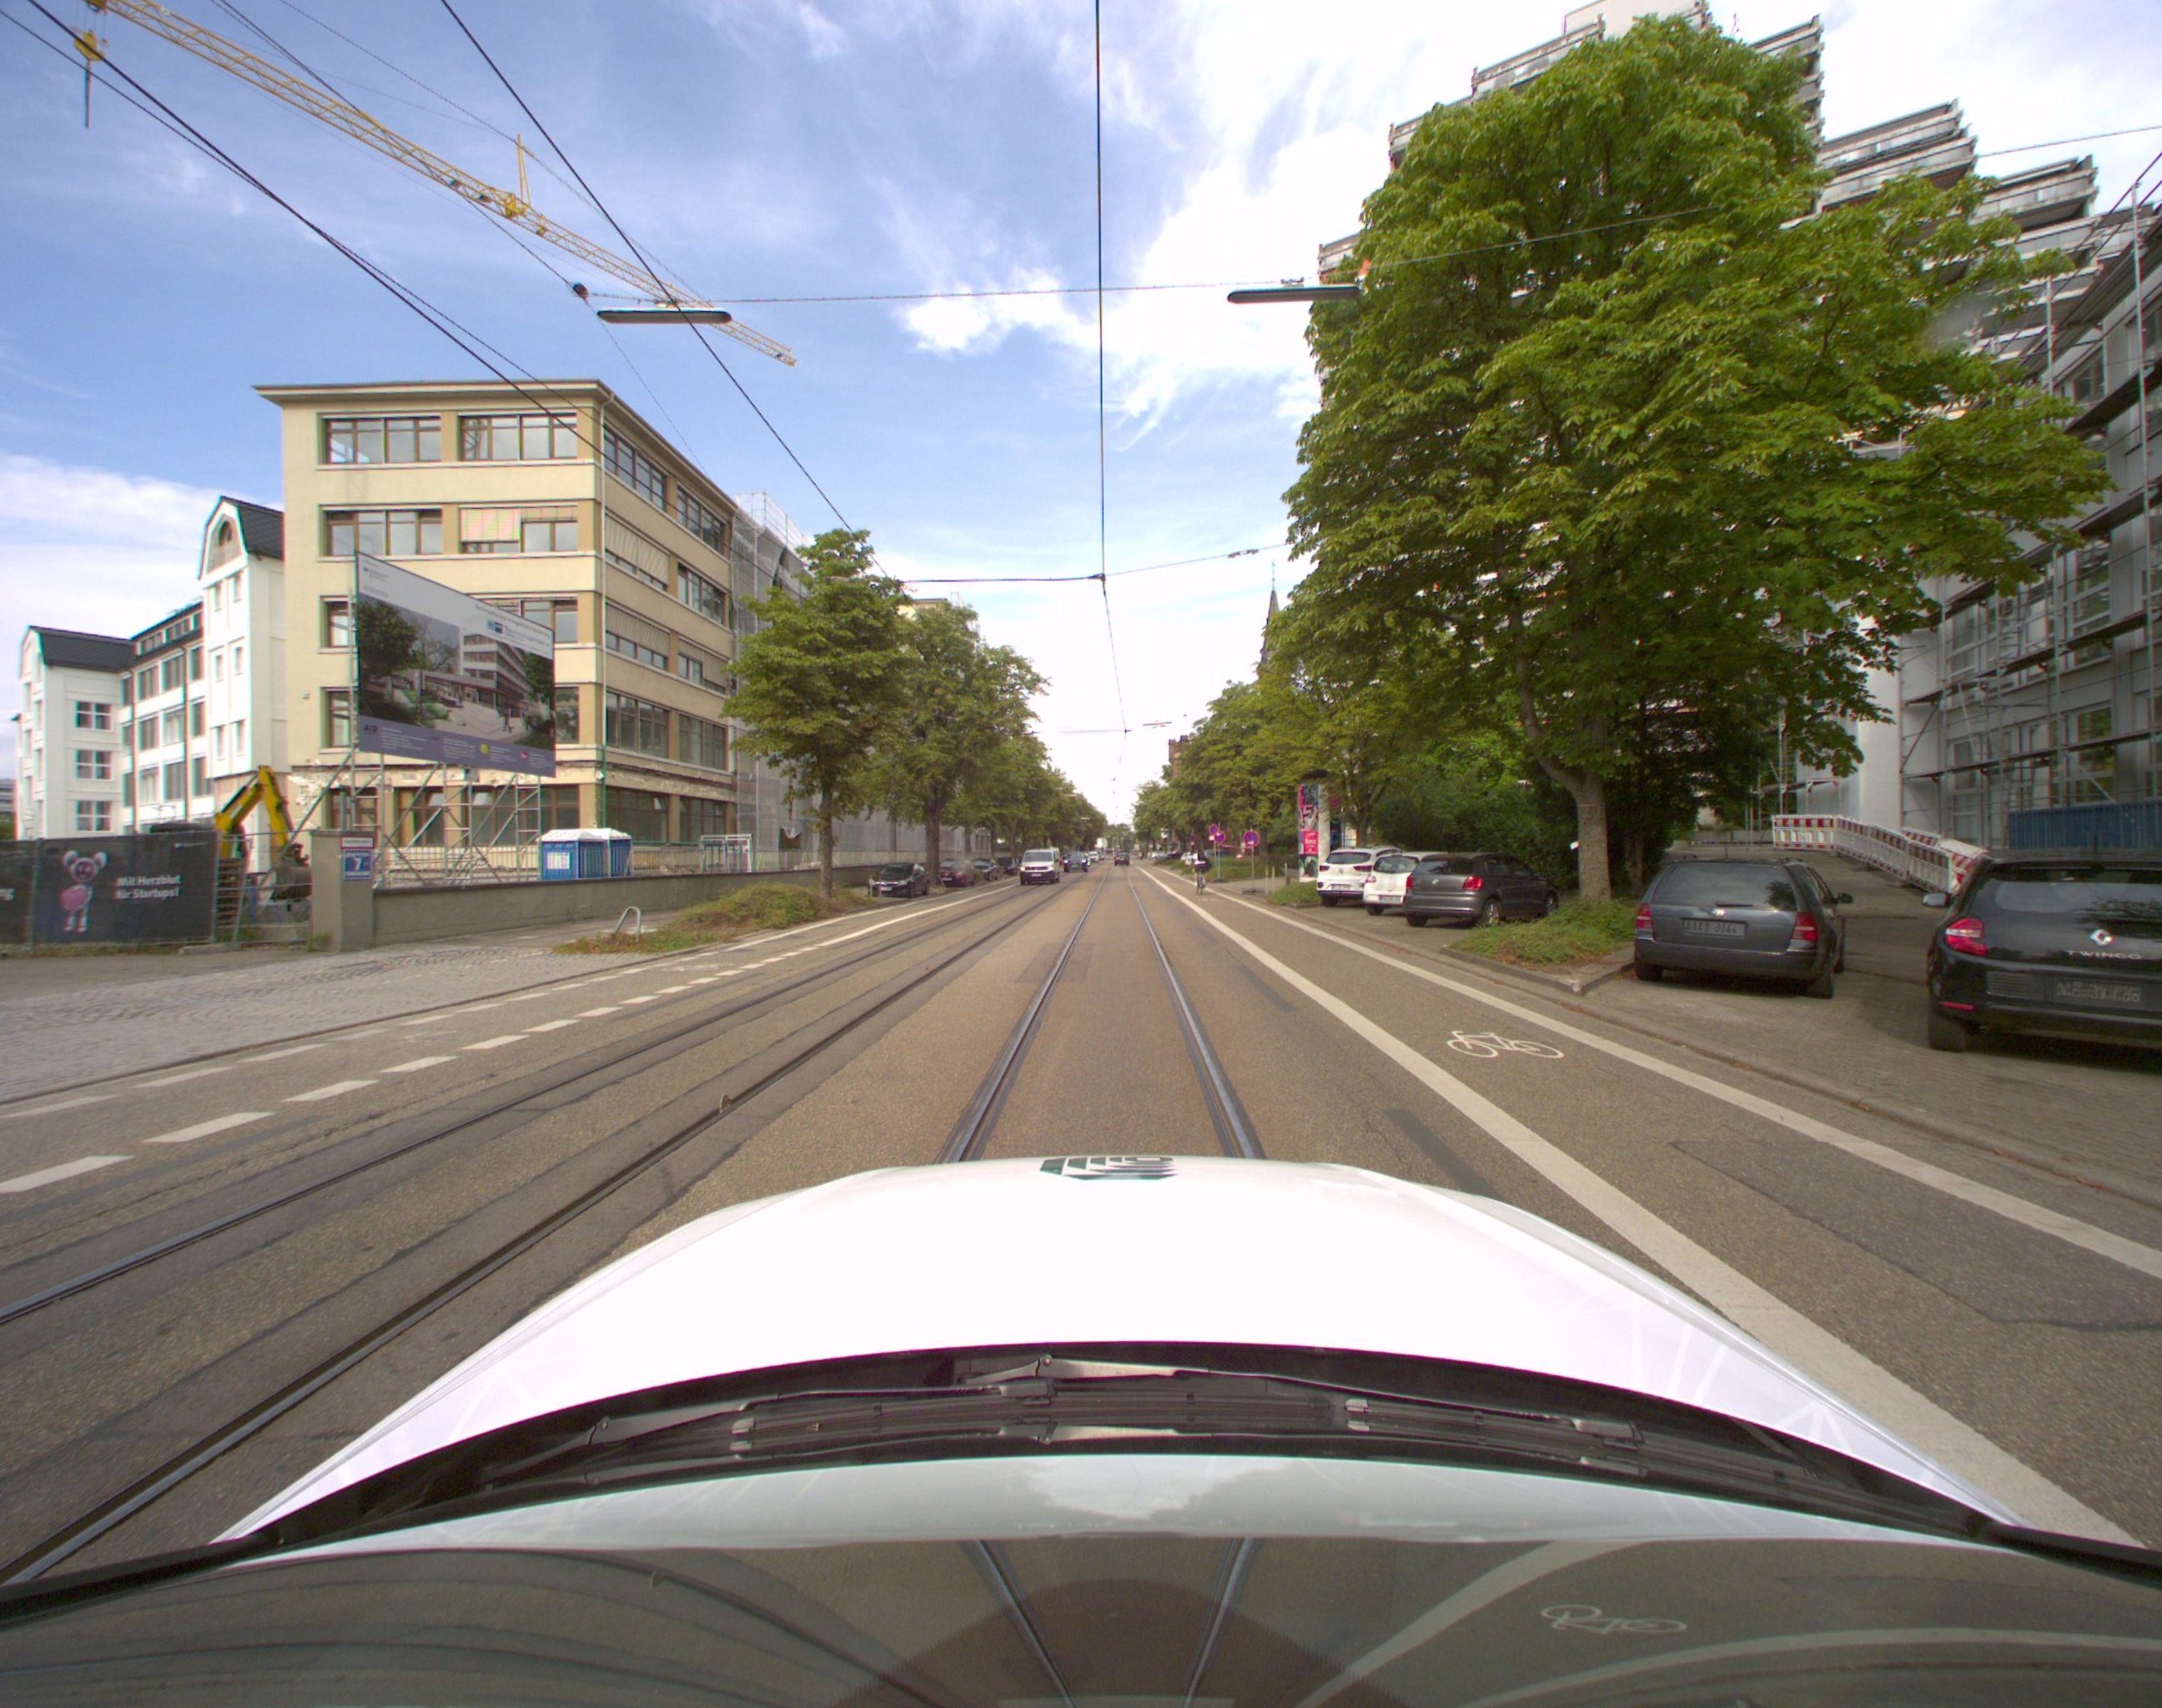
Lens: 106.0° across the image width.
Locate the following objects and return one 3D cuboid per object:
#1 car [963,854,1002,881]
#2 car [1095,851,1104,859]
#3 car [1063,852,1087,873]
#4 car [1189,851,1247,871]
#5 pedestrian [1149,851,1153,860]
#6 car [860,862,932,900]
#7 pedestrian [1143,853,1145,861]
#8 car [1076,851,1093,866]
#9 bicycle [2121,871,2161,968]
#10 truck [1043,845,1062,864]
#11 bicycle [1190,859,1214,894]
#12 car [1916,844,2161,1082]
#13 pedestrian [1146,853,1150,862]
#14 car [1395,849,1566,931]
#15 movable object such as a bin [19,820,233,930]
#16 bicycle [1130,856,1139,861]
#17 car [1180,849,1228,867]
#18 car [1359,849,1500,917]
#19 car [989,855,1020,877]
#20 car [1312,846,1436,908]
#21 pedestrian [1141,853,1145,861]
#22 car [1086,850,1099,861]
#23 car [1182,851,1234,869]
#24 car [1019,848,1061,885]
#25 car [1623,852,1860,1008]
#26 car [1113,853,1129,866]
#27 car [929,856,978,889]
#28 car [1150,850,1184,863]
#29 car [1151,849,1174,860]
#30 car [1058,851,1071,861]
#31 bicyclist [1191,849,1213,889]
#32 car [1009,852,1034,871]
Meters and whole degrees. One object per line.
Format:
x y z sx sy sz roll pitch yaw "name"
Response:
-6.268 0.821 52.063 1.795 1.583 4.033 -2 0 2 "car"
3.785 0.192 168.658 1.795 1.622 4.486 -2 0 2 "car"
-0.462 0.663 67.268 1.795 1.622 4.486 -2 0 2 "car"
10.225 0.538 60.963 3.975 1.425 1.884 -1 0 -1 "car"
11.968 0.266 139.029 0.723 1.646 0.767 0 0 4 "pedestrian"
-7.362 1.040 32.813 1.795 1.374 4.033 -2 0 2 "car"
15.722 0.818 204.102 0.515 2.013 0.480 0 0 6 "pedestrian"
0.383 0.501 95.569 1.795 1.622 4.486 -2 0 2 "car"
13.622 0.748 9.364 1.947 1.128 0.542 -2 -1 32 "bicycle"
-3.676 0.071 106.427 2.063 2.470 4.901 -2 0 2 "truck"
4.567 0.825 30.799 0.655 1.249 2.125 0 0 1 "bicycle"
8.096 0.695 6.692 3.760 1.522 1.620 0 0 -43 "car"
12.176 0.656 148.616 0.723 1.646 0.767 0 0 4 "pedestrian"
8.001 0.641 16.221 3.551 1.442 1.606 -1 0 -37 "car"
-18.966 0.396 16.273 1.977 2.067 1.963 -1 0 4 "movable object such as a bin"
11.048 0.927 167.168 1.709 0.991 0.660 0 0 11 "bicycle"
11.020 0.362 73.257 3.975 1.627 1.884 -1 0 -1 "car"
8.283 0.620 19.267 3.463 1.442 1.543 -1 0 -37 "car"
-5.865 0.861 62.796 1.795 1.583 4.033 -2 0 2 "car"
8.072 0.569 22.377 3.463 1.573 1.543 -1 0 -37 "car"
12.618 0.610 166.940 0.721 1.646 0.769 0 0 12 "pedestrian"
1.839 0.289 129.505 1.795 1.622 4.486 -2 0 2 "car"
10.544 0.496 67.862 3.975 1.425 1.884 -1 0 -1 "car"
-2.099 0.616 42.927 1.795 1.823 4.486 -2 0 2 "car"
7.772 0.708 9.465 3.760 1.458 1.620 0 0 -43 "car"
4.685 0.634 96.098 1.786 1.423 4.002 0 0 2 "car"
-6.719 0.949 43.197 1.795 1.583 4.033 -2 0 2 "car"
10.415 0.259 98.937 3.975 1.508 1.884 -1 0 -1 "car"
14.542 0.150 145.039 3.975 1.910 1.999 0 0 -1 "car"
-2.669 0.371 132.122 1.795 1.583 4.033 -2 0 2 "car"
4.560 0.559 30.769 0.655 1.463 1.179 0 0 1 "bicyclist"
-5.278 0.681 73.025 1.795 1.583 4.033 -2 0 2 "car"
